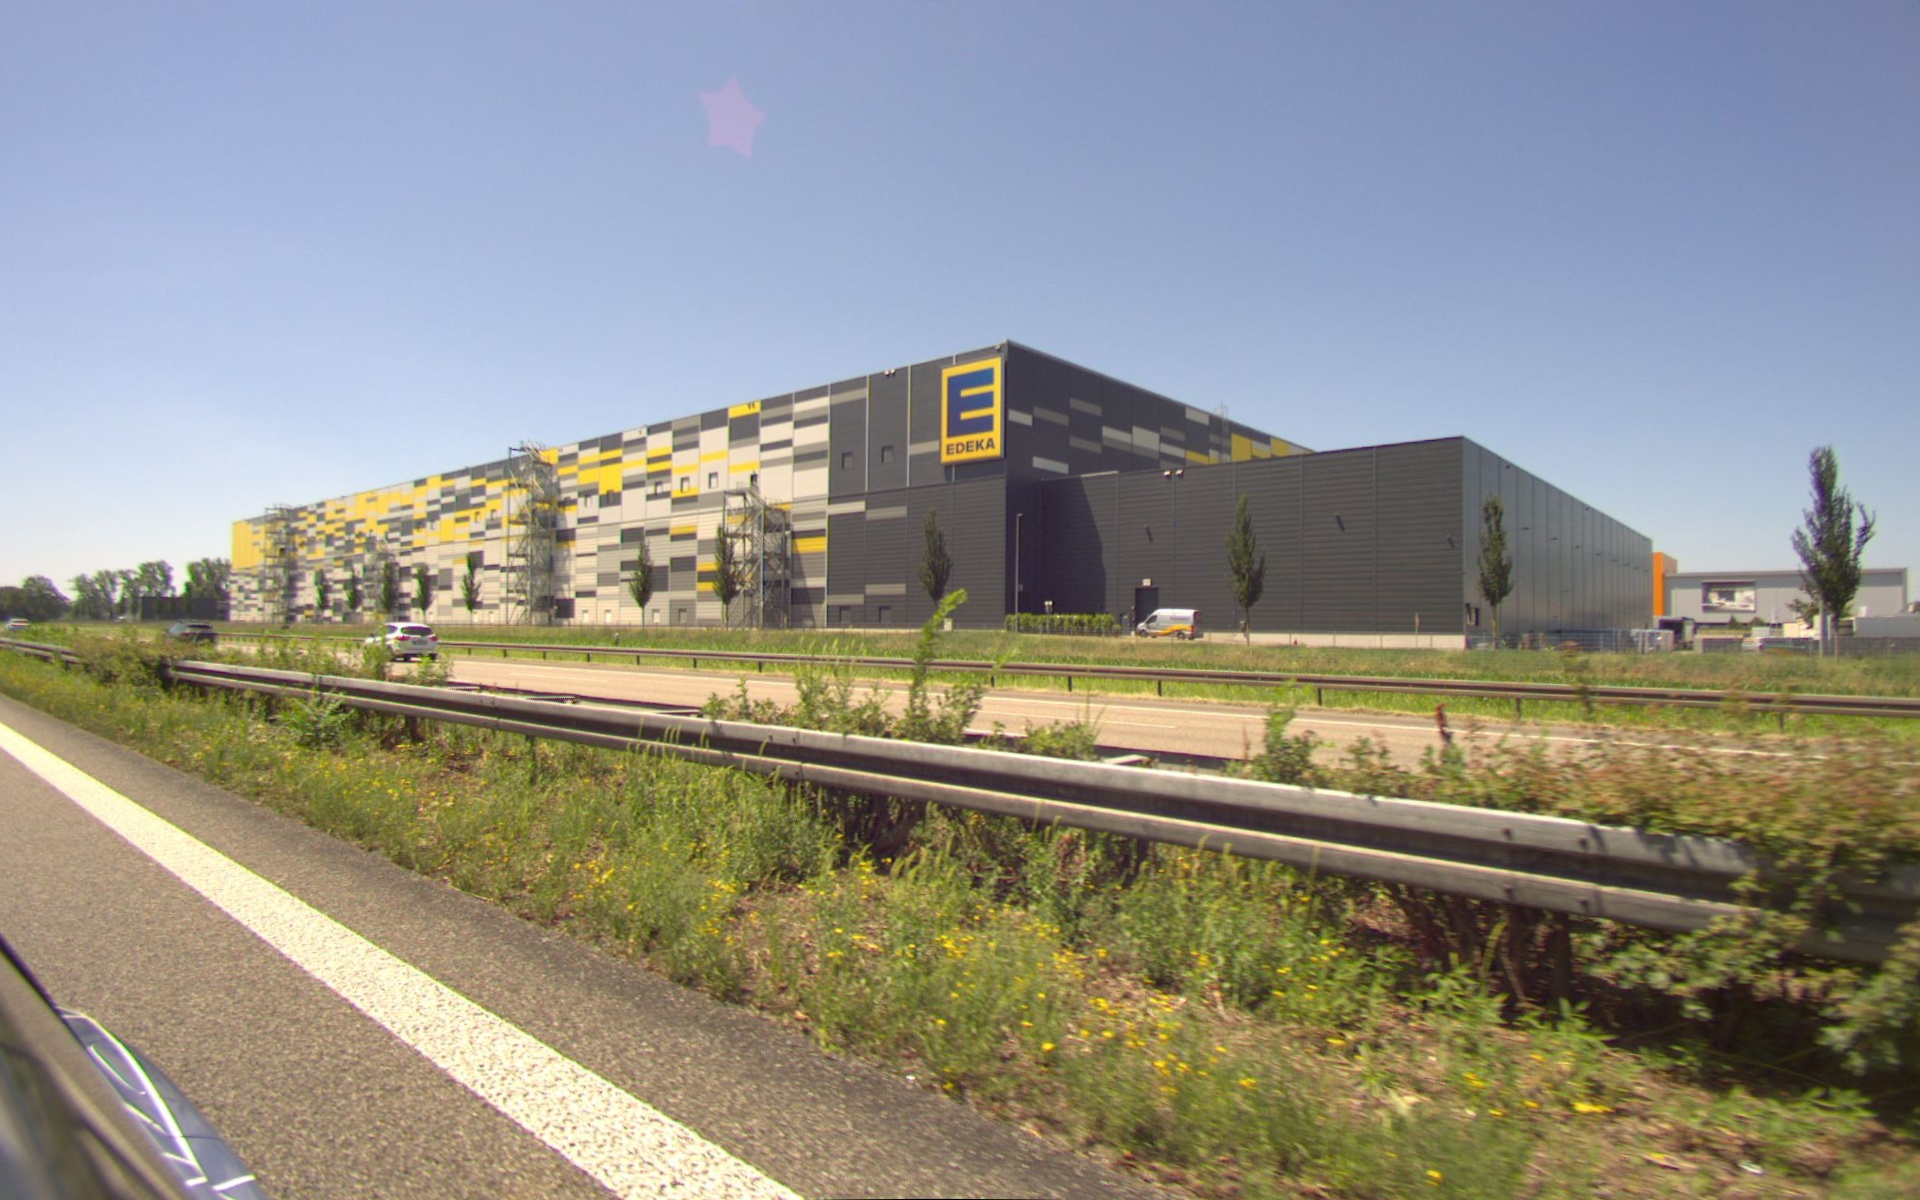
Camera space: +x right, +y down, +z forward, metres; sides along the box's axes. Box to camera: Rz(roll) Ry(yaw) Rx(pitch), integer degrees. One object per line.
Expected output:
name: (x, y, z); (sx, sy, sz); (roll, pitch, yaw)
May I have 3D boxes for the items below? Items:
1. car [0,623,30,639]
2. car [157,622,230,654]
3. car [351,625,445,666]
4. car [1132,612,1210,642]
car: (-94.572, 3.064, 101.150); (4.415, 1.495, 1.788); (-1, -4, 41)
car: (-39.922, 1.951, 52.672); (5.029, 1.544, 1.880); (-1, -5, 41)
car: (-23.619, 1.863, 42.439); (4.740, 1.606, 1.880); (-1, -3, 41)
car: (18.059, 2.344, 86.809); (6.171, 2.475, 2.372); (-1, -2, 41)
